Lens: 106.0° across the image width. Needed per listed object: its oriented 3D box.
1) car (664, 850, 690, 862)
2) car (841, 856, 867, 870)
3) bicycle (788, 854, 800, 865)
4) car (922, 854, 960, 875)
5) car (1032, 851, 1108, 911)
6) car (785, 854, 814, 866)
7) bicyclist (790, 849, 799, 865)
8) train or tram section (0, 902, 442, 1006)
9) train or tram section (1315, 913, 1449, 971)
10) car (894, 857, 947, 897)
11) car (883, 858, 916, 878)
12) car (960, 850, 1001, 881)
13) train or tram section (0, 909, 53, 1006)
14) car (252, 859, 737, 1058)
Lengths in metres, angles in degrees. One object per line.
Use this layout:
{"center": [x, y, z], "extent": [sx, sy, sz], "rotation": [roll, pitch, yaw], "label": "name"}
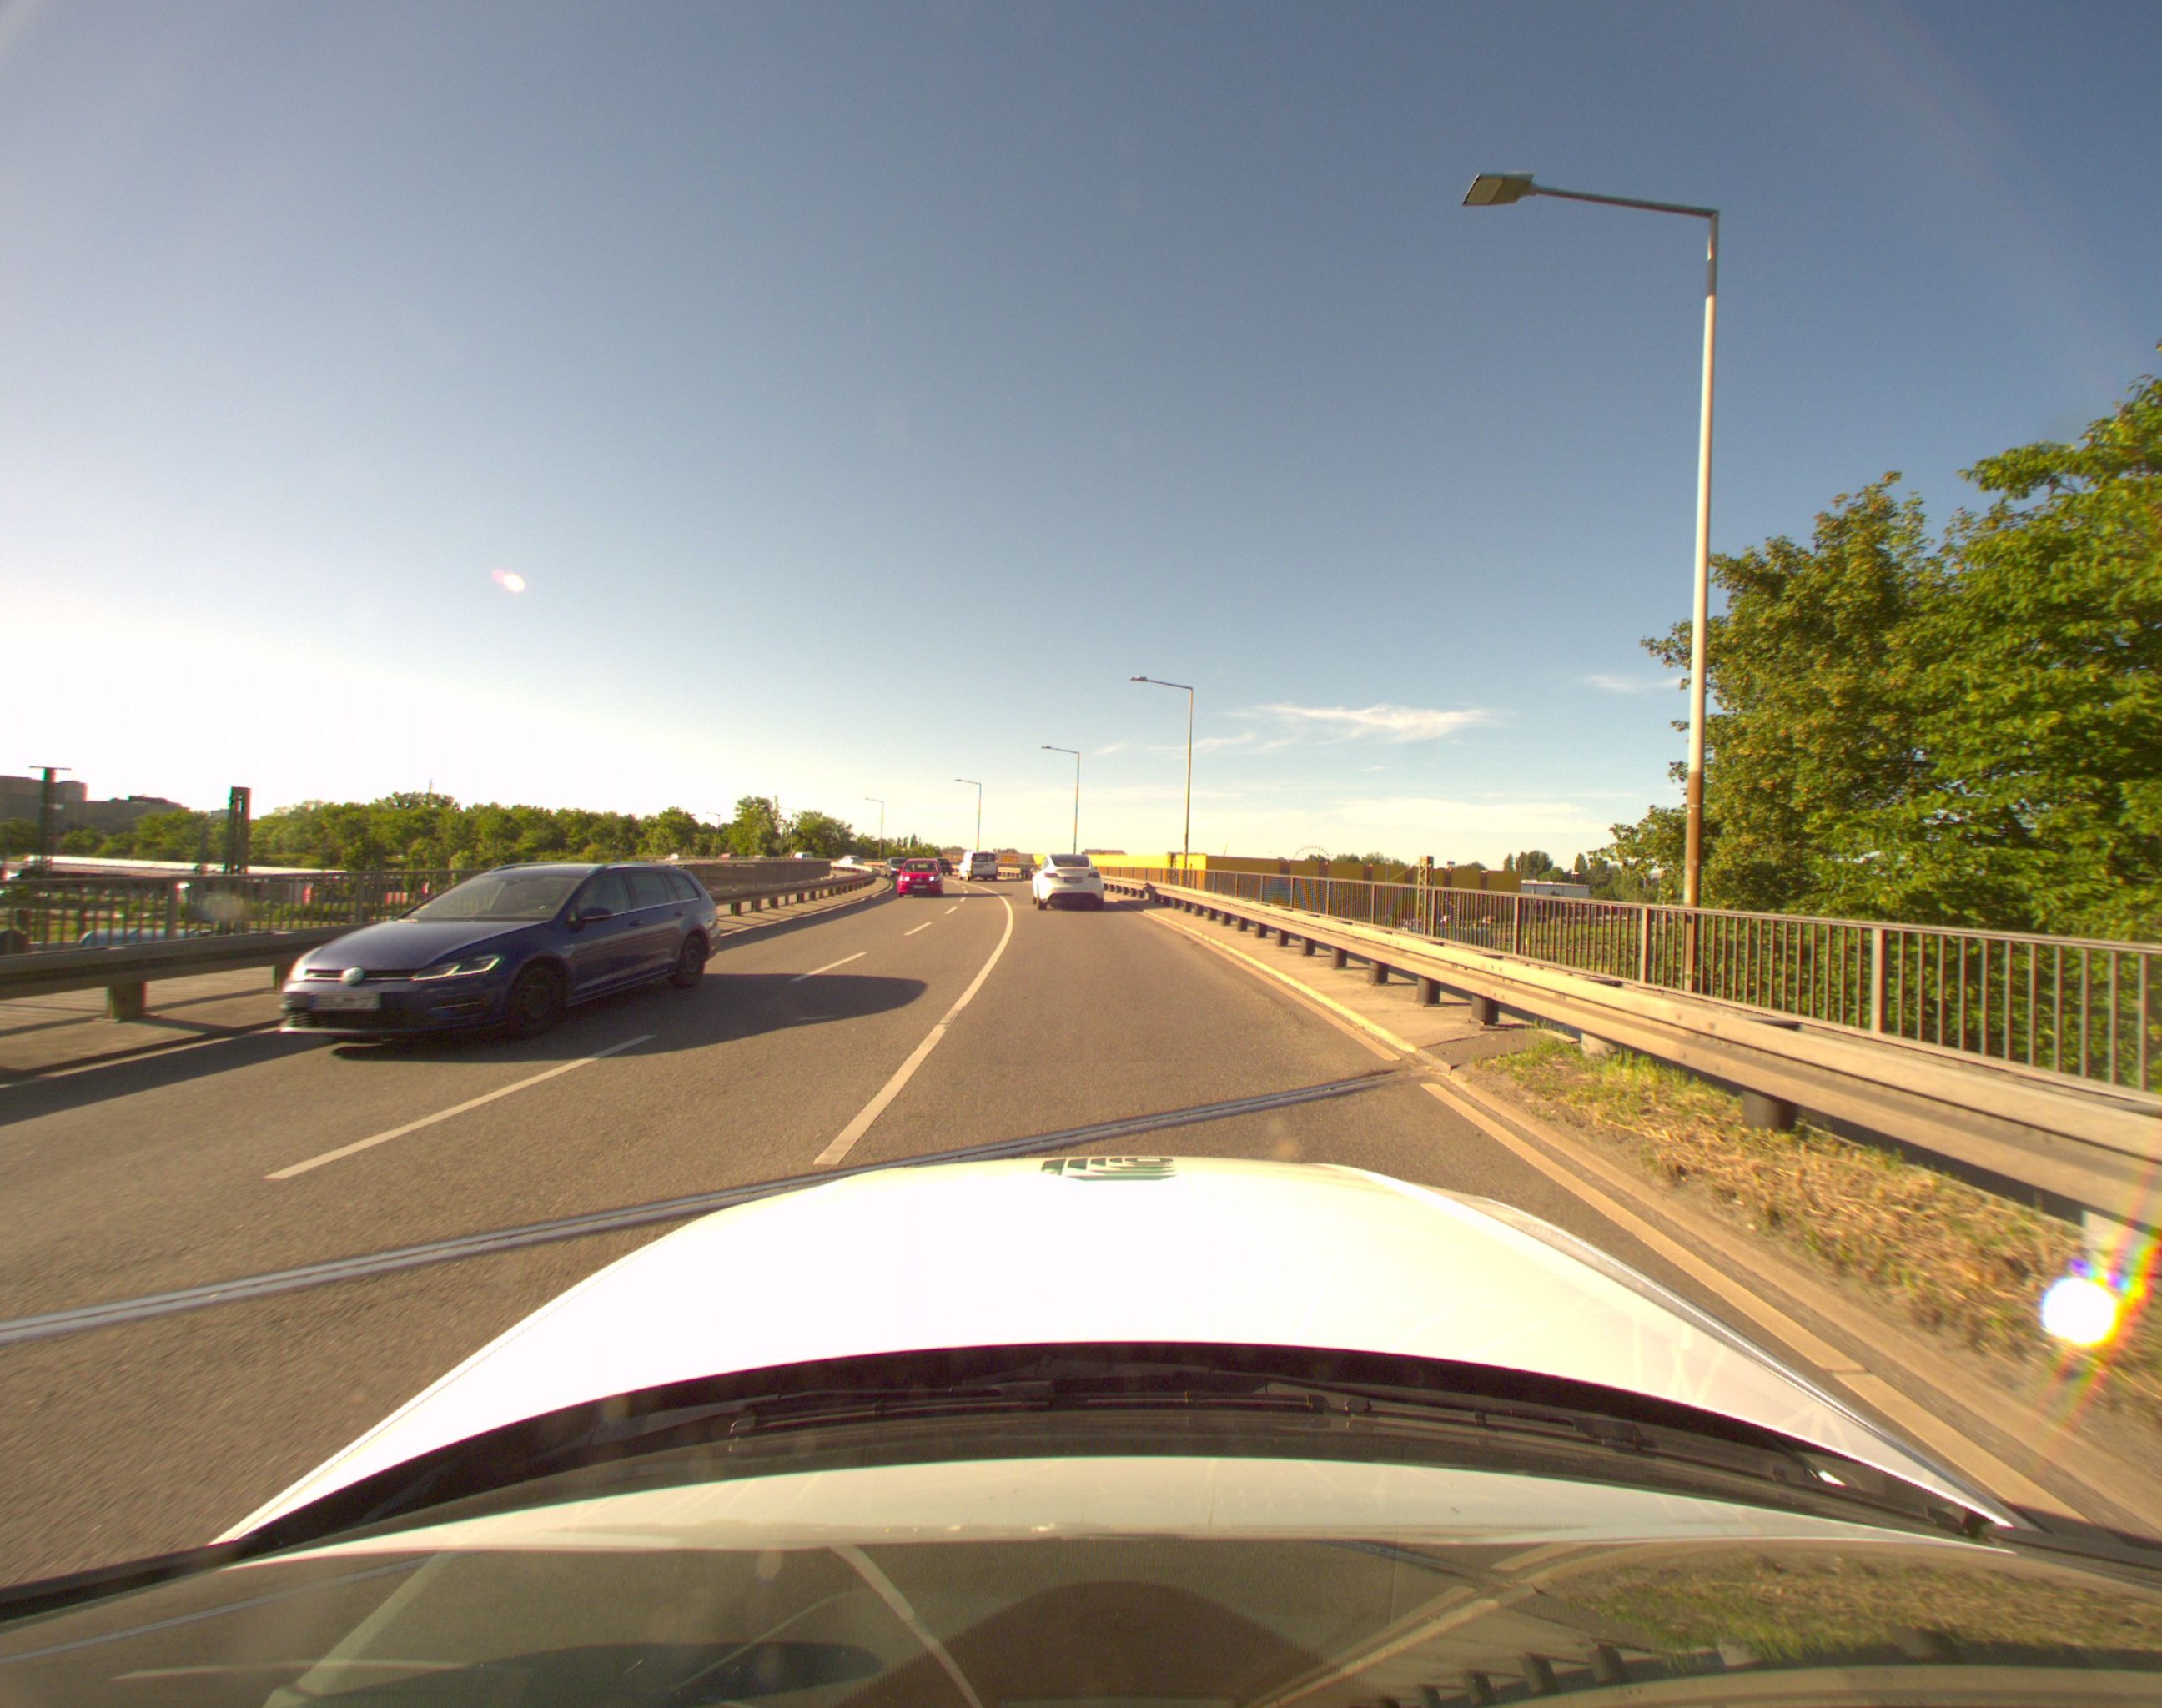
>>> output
{"center": [-66.688, 0.380, 134.495], "extent": [3.949, 1.950, 1.975], "rotation": [0, 0, 31], "label": "car"}
{"center": [-26.466, 1.036, 94.930], "extent": [1.872, 1.585, 3.874], "rotation": [0, 0, -33], "label": "car"}
{"center": [-29.816, 0.571, 84.702], "extent": [0.659, 1.065, 1.869], "rotation": [1, 0, -37], "label": "bicycle"}
{"center": [-11.625, 0.833, 67.359], "extent": [1.980, 1.638, 3.964], "rotation": [-1, 0, -27], "label": "car"}
{"center": [-0.423, 0.759, 24.795], "extent": [1.983, 1.638, 4.054], "rotation": [-1, 0, -6], "label": "car"}
{"center": [-37.492, 0.752, 108.450], "extent": [3.843, 1.555, 1.853], "rotation": [0, 0, 40], "label": "car"}
{"center": [-29.801, 0.322, 84.687], "extent": [0.659, 1.589, 0.759], "rotation": [1, -1, -37], "label": "bicyclist"}
{"center": [-47.135, 5.292, 46.049], "extent": [16.806, 4.591, 3.871], "rotation": [0, 0, -27], "label": "train or tram section"}
{"center": [33.164, 9.412, 89.147], "extent": [16.918, 5.261, 3.307], "rotation": [0, 0, -27], "label": "train or tram section"}
{"center": [-6.251, 0.860, 32.138], "extent": [1.780, 1.437, 3.865], "rotation": [0, 0, -7], "label": "car"}
{"center": [-13.782, 1.035, 61.677], "extent": [1.880, 1.439, 4.292], "rotation": [0, 0, -20], "label": "car"}
{"center": [-6.521, 0.720, 52.624], "extent": [2.009, 1.940, 4.444], "rotation": [0, 0, -16], "label": "car"}
{"center": [-61.830, 5.220, 38.394], "extent": [16.349, 4.591, 3.871], "rotation": [0, 0, -27], "label": "train or tram section"}
{"center": [-5.382, 0.807, 8.381], "extent": [1.718, 1.486, 4.408], "rotation": [0, 0, 1], "label": "car"}
